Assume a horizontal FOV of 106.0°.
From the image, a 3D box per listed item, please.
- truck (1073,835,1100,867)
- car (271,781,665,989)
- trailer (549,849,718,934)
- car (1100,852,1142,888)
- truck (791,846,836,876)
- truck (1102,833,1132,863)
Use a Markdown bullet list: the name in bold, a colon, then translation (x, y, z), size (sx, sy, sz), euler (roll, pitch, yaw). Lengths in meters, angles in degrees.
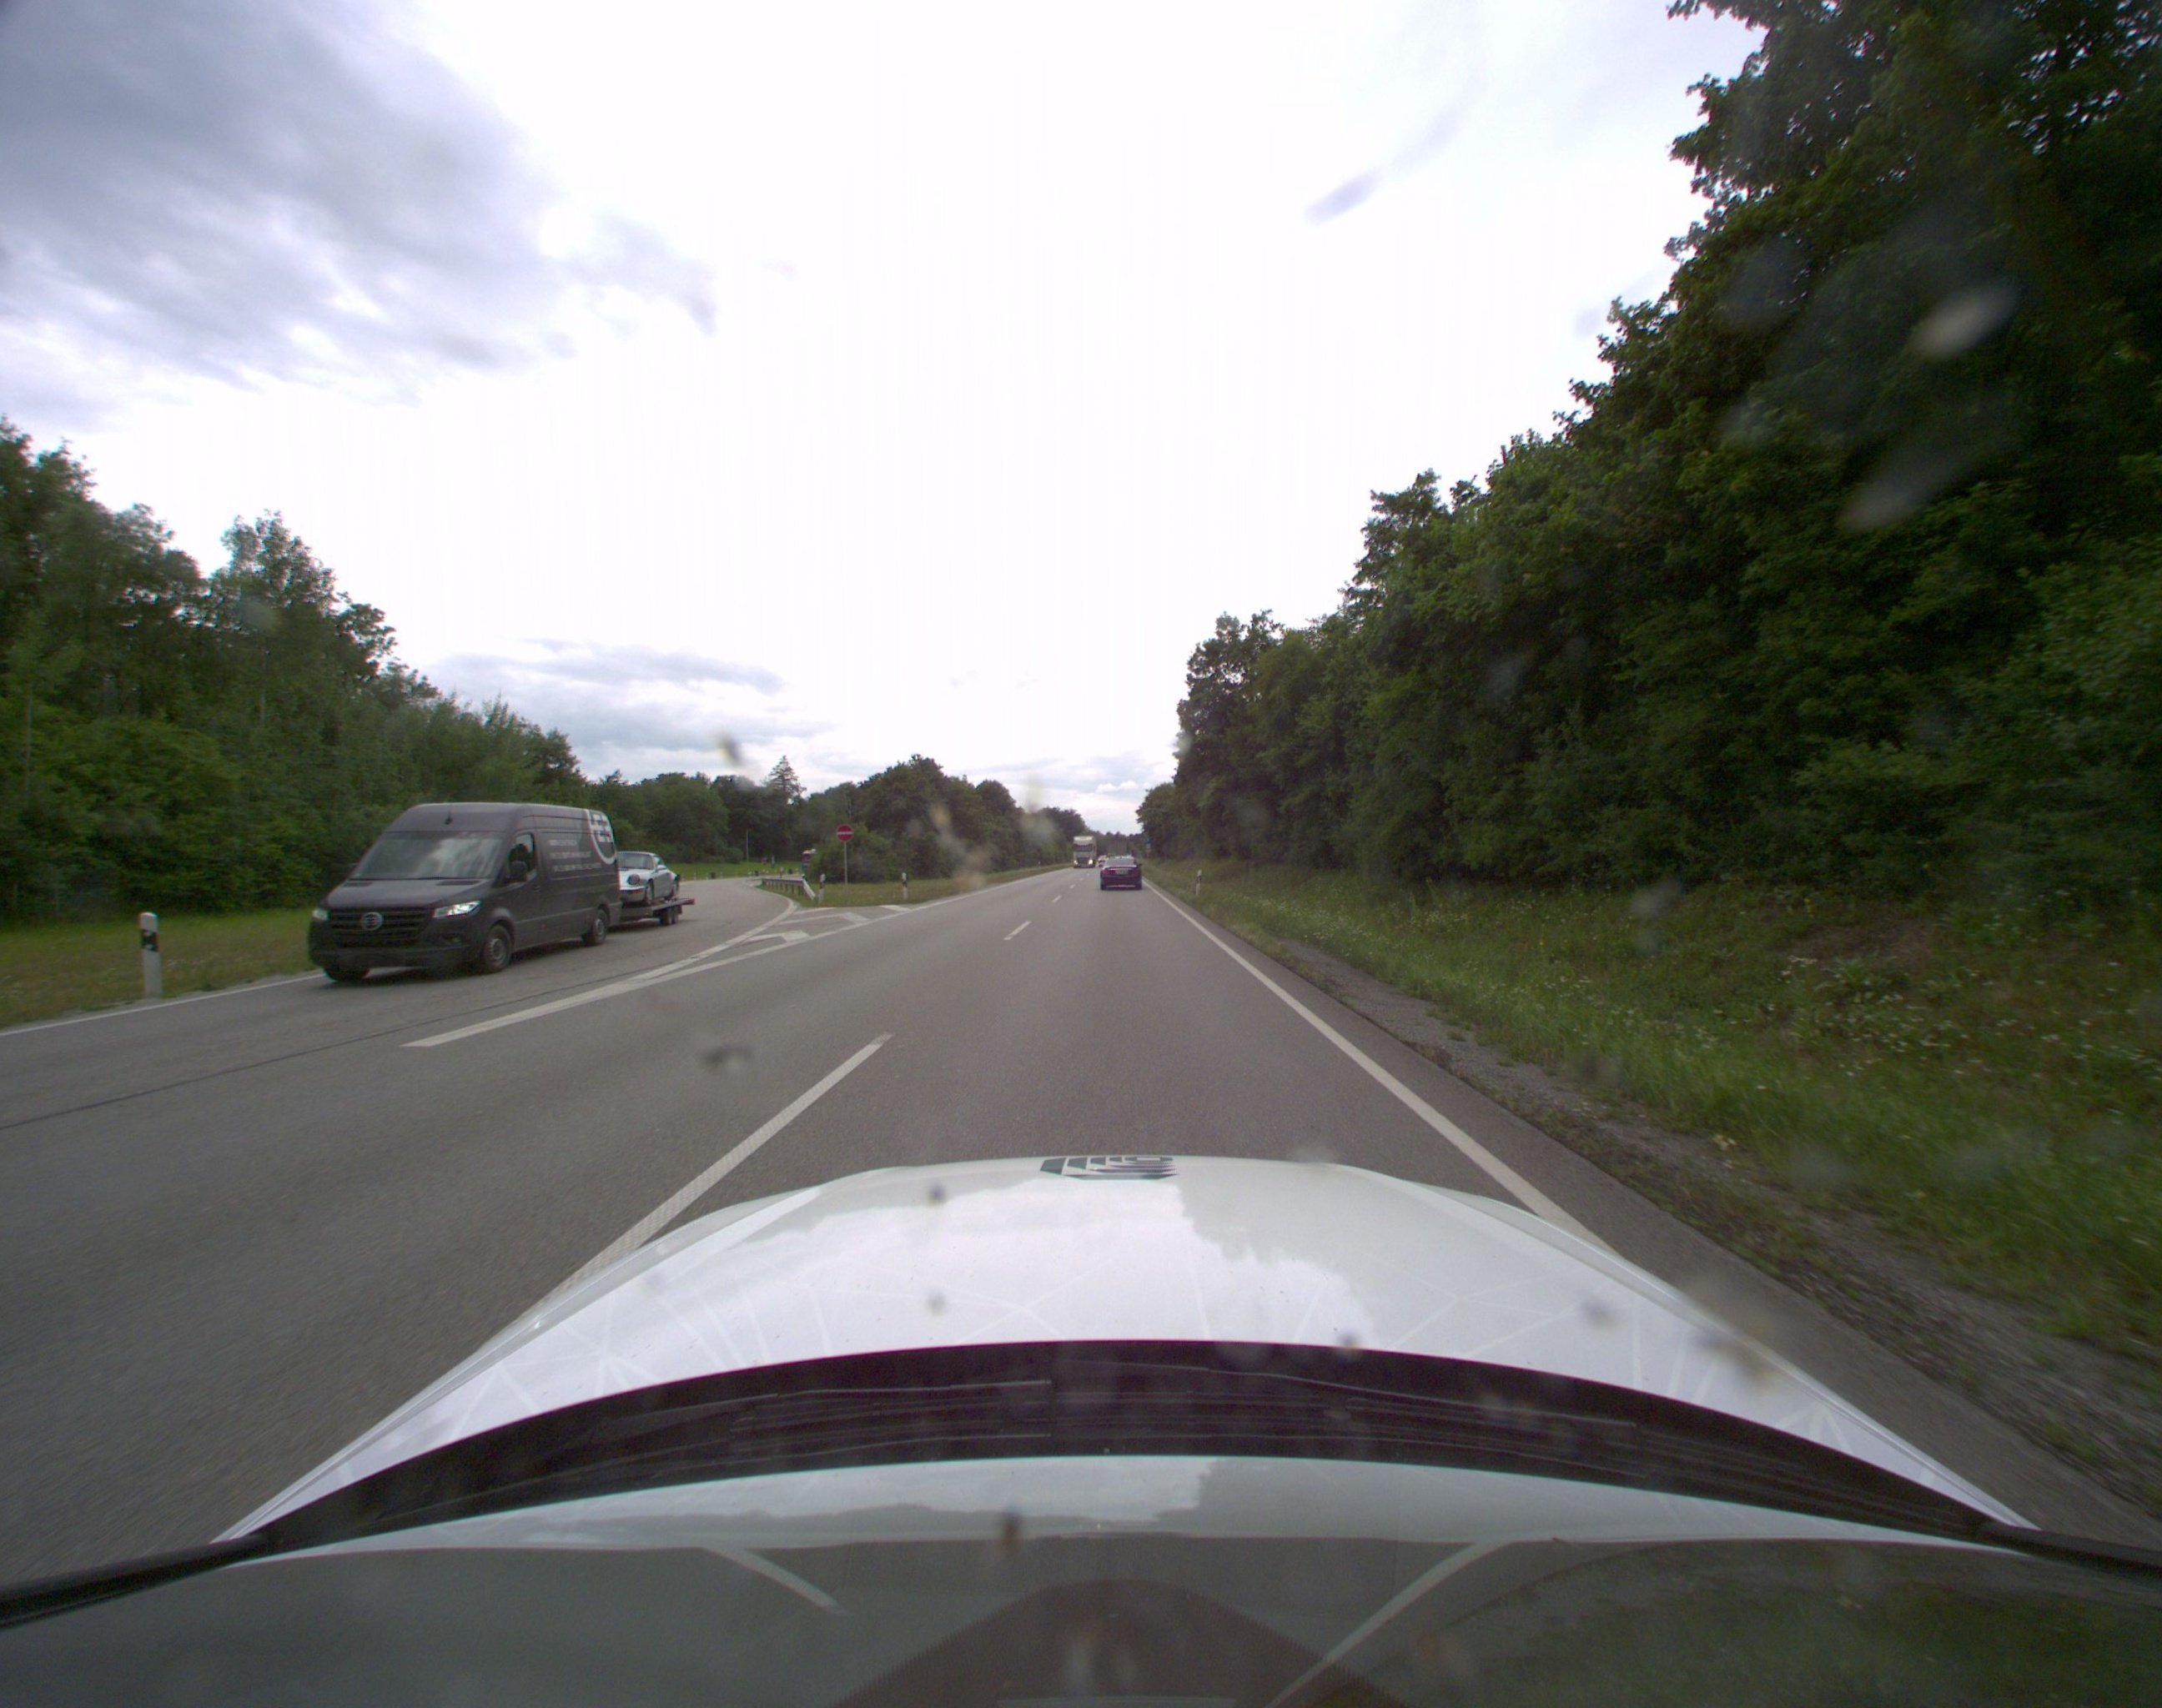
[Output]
- **truck**: translation (0.799, -0.329, 107.965), size (3.177, 4.062, 9.581), euler (-1, 0, 2)
- **car**: translation (-9.649, 0.400, 14.016), size (2.256, 2.529, 7.139), euler (-4, 0, -10)
- **trailer**: translation (-10.866, 0.826, 20.359), size (2.055, 1.791, 5.668), euler (0, 0, -11)
- **car**: translation (1.758, 0.711, 37.055), size (1.785, 1.552, 4.001), euler (-1, 0, 1)
- **truck**: translation (-27.517, 0.721, 84.090), size (1.986, 3.012, 7.230), euler (-1, 0, 2)
- **truck**: translation (4.728, -0.747, 104.591), size (3.265, 3.611, 11.416), euler (-1, 0, 5)
